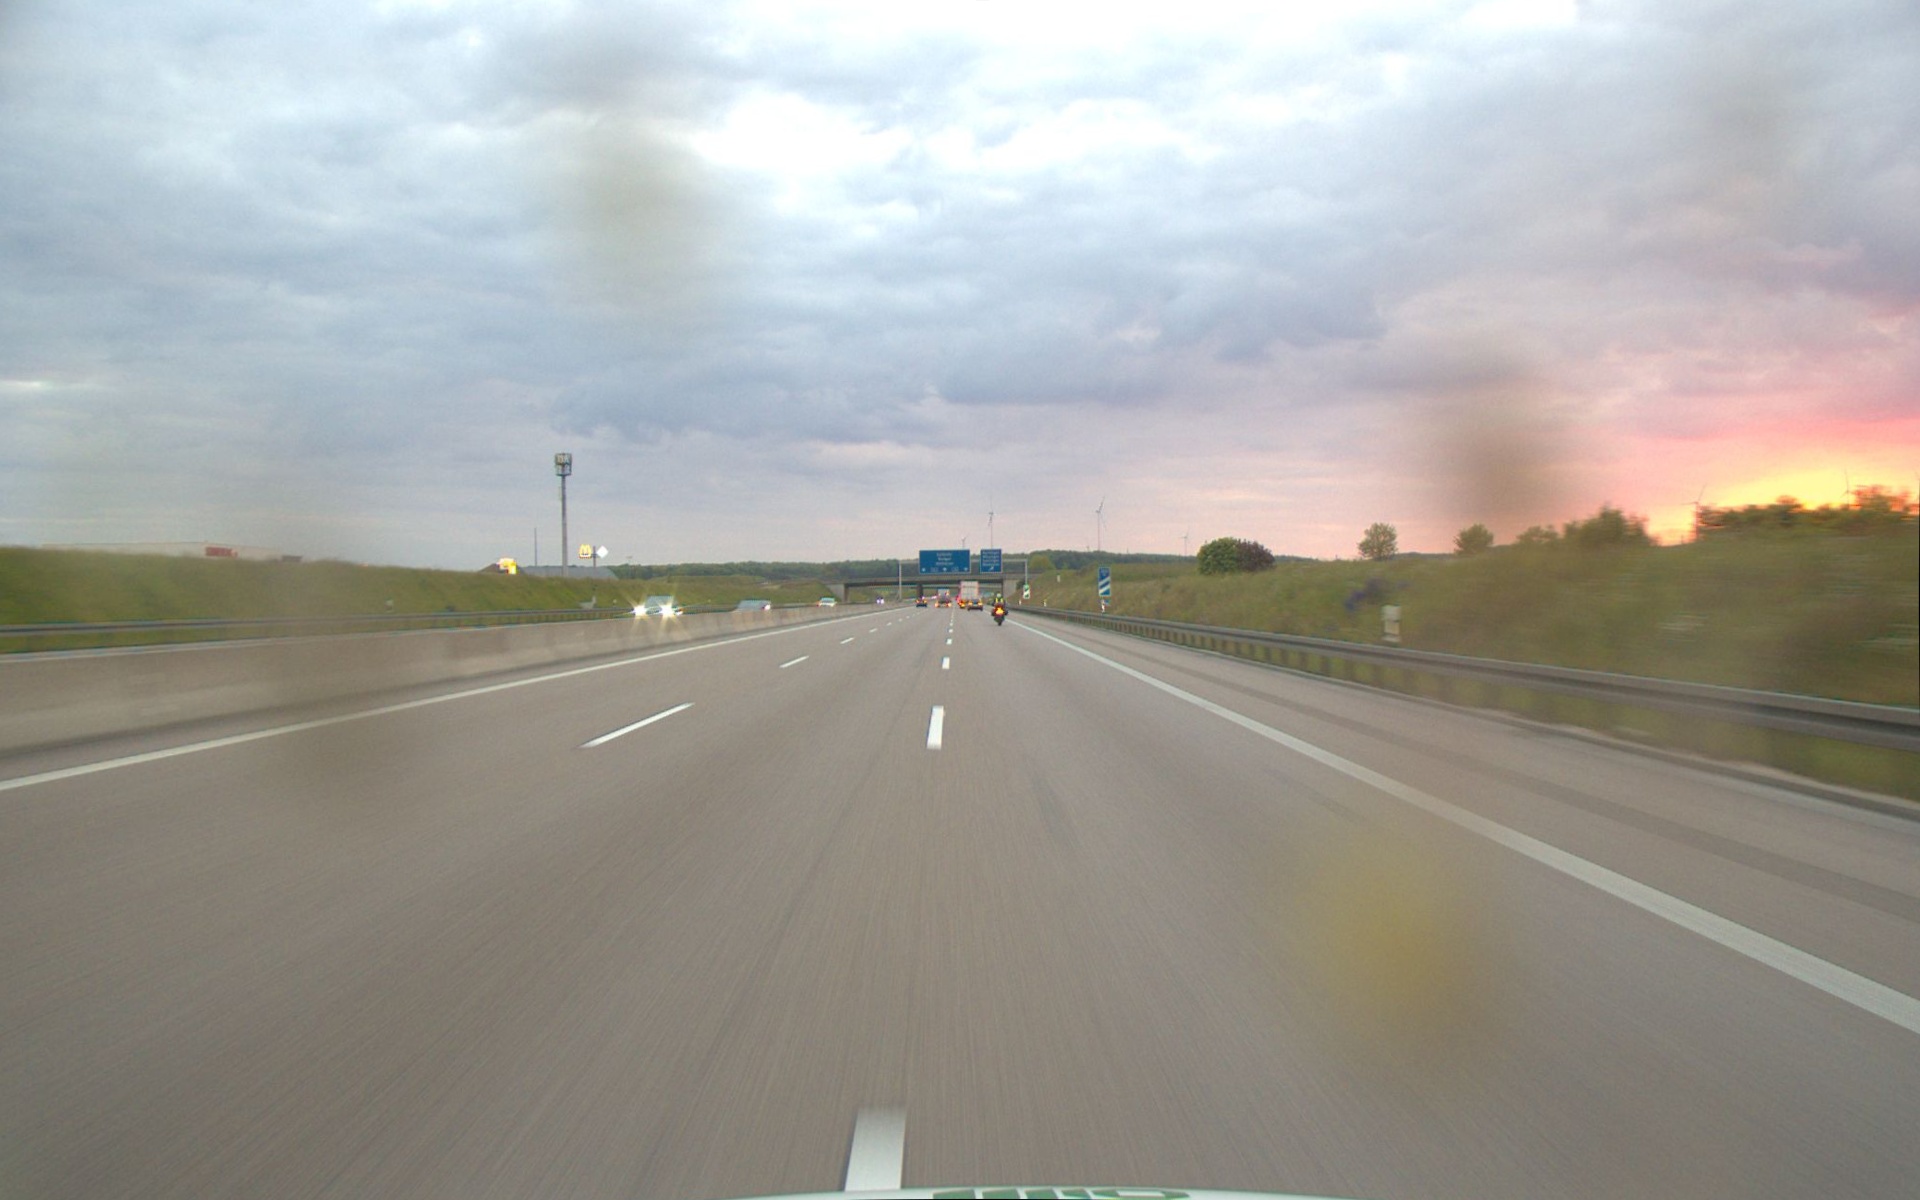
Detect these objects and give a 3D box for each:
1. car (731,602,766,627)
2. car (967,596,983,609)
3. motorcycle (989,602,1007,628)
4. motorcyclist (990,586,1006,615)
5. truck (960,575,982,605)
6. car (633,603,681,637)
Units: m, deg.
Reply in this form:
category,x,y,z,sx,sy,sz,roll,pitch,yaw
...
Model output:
category,x,y,z,sx,sy,sz,roll,pitch,yaw
car,-13.365,0.879,104.603,1.703,1.525,4.130,0,0,-1
car,1.839,0.310,201.778,1.879,1.607,3.999,0,0,-1
motorcycle,2.039,0.800,89.105,0.883,1.370,2.349,0,1,0
motorcyclist,2.042,0.021,89.176,0.848,1.513,1.168,1,0,1
truck,1.620,-1.495,244.924,3.167,4.301,9.599,1,1,0
car,-17.463,1.118,95.444,2.057,1.842,5.019,0,1,-3
